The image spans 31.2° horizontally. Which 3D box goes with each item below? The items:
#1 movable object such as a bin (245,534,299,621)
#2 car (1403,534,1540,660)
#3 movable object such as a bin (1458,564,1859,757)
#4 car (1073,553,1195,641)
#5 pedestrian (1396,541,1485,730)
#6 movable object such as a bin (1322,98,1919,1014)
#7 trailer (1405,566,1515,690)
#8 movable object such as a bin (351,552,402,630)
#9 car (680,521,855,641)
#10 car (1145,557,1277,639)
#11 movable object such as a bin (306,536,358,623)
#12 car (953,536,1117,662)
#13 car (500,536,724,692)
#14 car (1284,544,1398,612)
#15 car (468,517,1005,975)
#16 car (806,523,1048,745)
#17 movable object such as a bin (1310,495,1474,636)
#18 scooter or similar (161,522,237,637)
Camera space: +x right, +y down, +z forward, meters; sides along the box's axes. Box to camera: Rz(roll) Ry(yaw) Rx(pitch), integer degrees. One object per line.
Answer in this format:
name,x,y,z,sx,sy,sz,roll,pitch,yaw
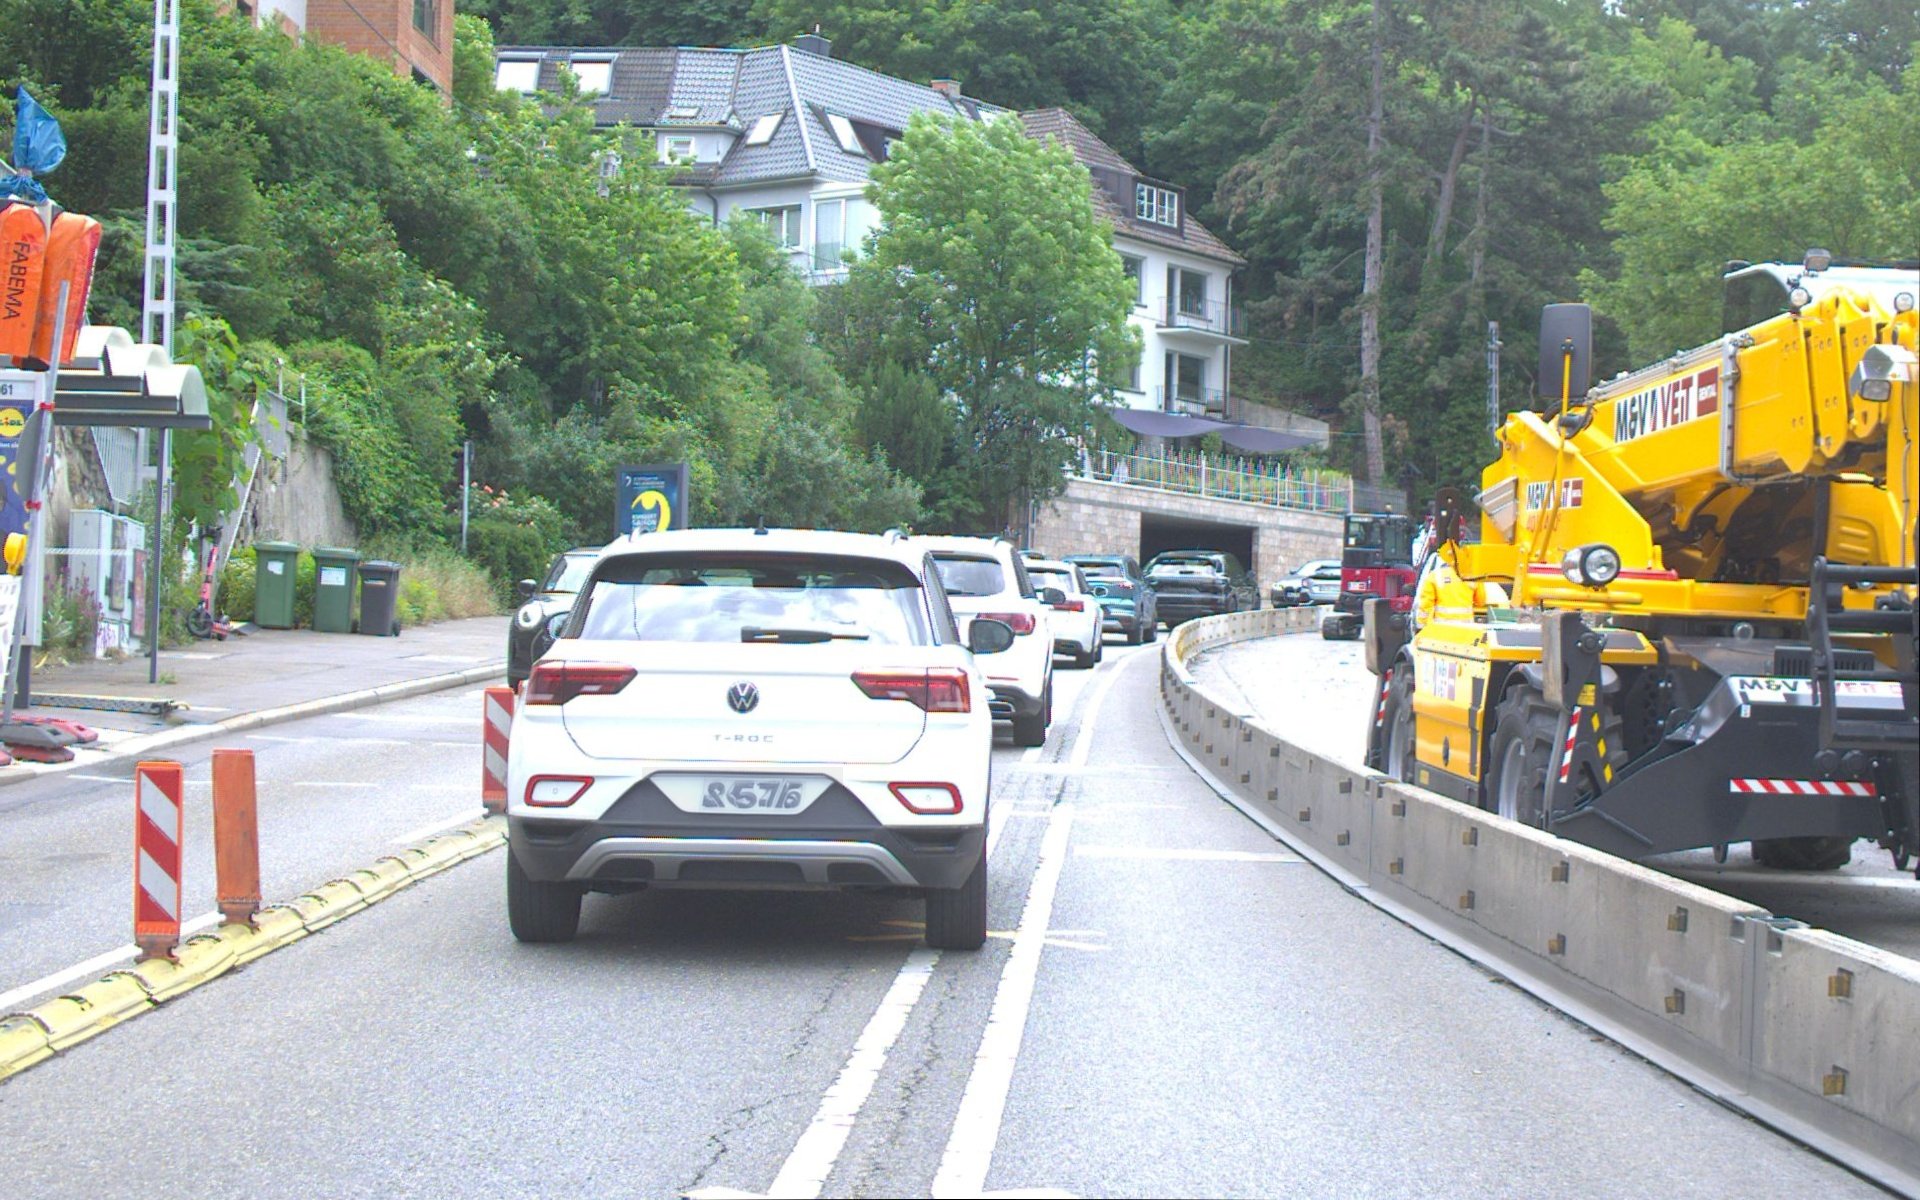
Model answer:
movable object such as a bin,-8.560,-0.285,42.785,0.468,1.050,0.624,3,1,2
car,7.695,-0.074,51.990,1.833,1.773,4.267,2,1,6
movable object such as a bin,6.507,0.483,33.059,2.374,1.556,7.099,2,1,0
car,3.105,-0.075,60.662,1.795,1.505,3.999,0,1,8
pedestrian,4.457,0.318,31.942,0.645,1.696,0.850,3,1,2
movable object such as a bin,3.651,-0.181,15.542,2.811,3.060,7.824,2,1,-2
trailer,6.389,0.322,43.950,1.289,1.470,3.633,2,1,8
movable object such as a bin,-7.238,-0.111,42.679,0.468,0.931,0.624,3,1,2
car,-2.707,-0.293,49.290,1.842,1.594,4.263,2,1,5
car,5.278,-0.066,71.843,1.811,1.657,3.996,0,1,19
movable object such as a bin,-7.807,-0.254,42.731,0.468,1.050,0.624,3,1,2
car,1.083,-0.041,47.690,1.810,1.657,3.999,0,1,8
car,-3.379,0.113,33.929,1.672,1.425,3.587,1,1,2
car,9.545,-0.558,85.848,1.812,1.657,3.995,1,1,22
car,-0.783,0.479,13.856,1.809,1.526,4.000,2,1,0
car,-0.206,0.231,27.817,1.810,1.657,4.000,0,1,1
movable object such as a bin,8.713,-0.693,69.002,2.214,2.653,4.940,2,1,19
scooter or similar,-8.298,-0.233,37.530,0.459,1.201,1.435,4,1,-1
